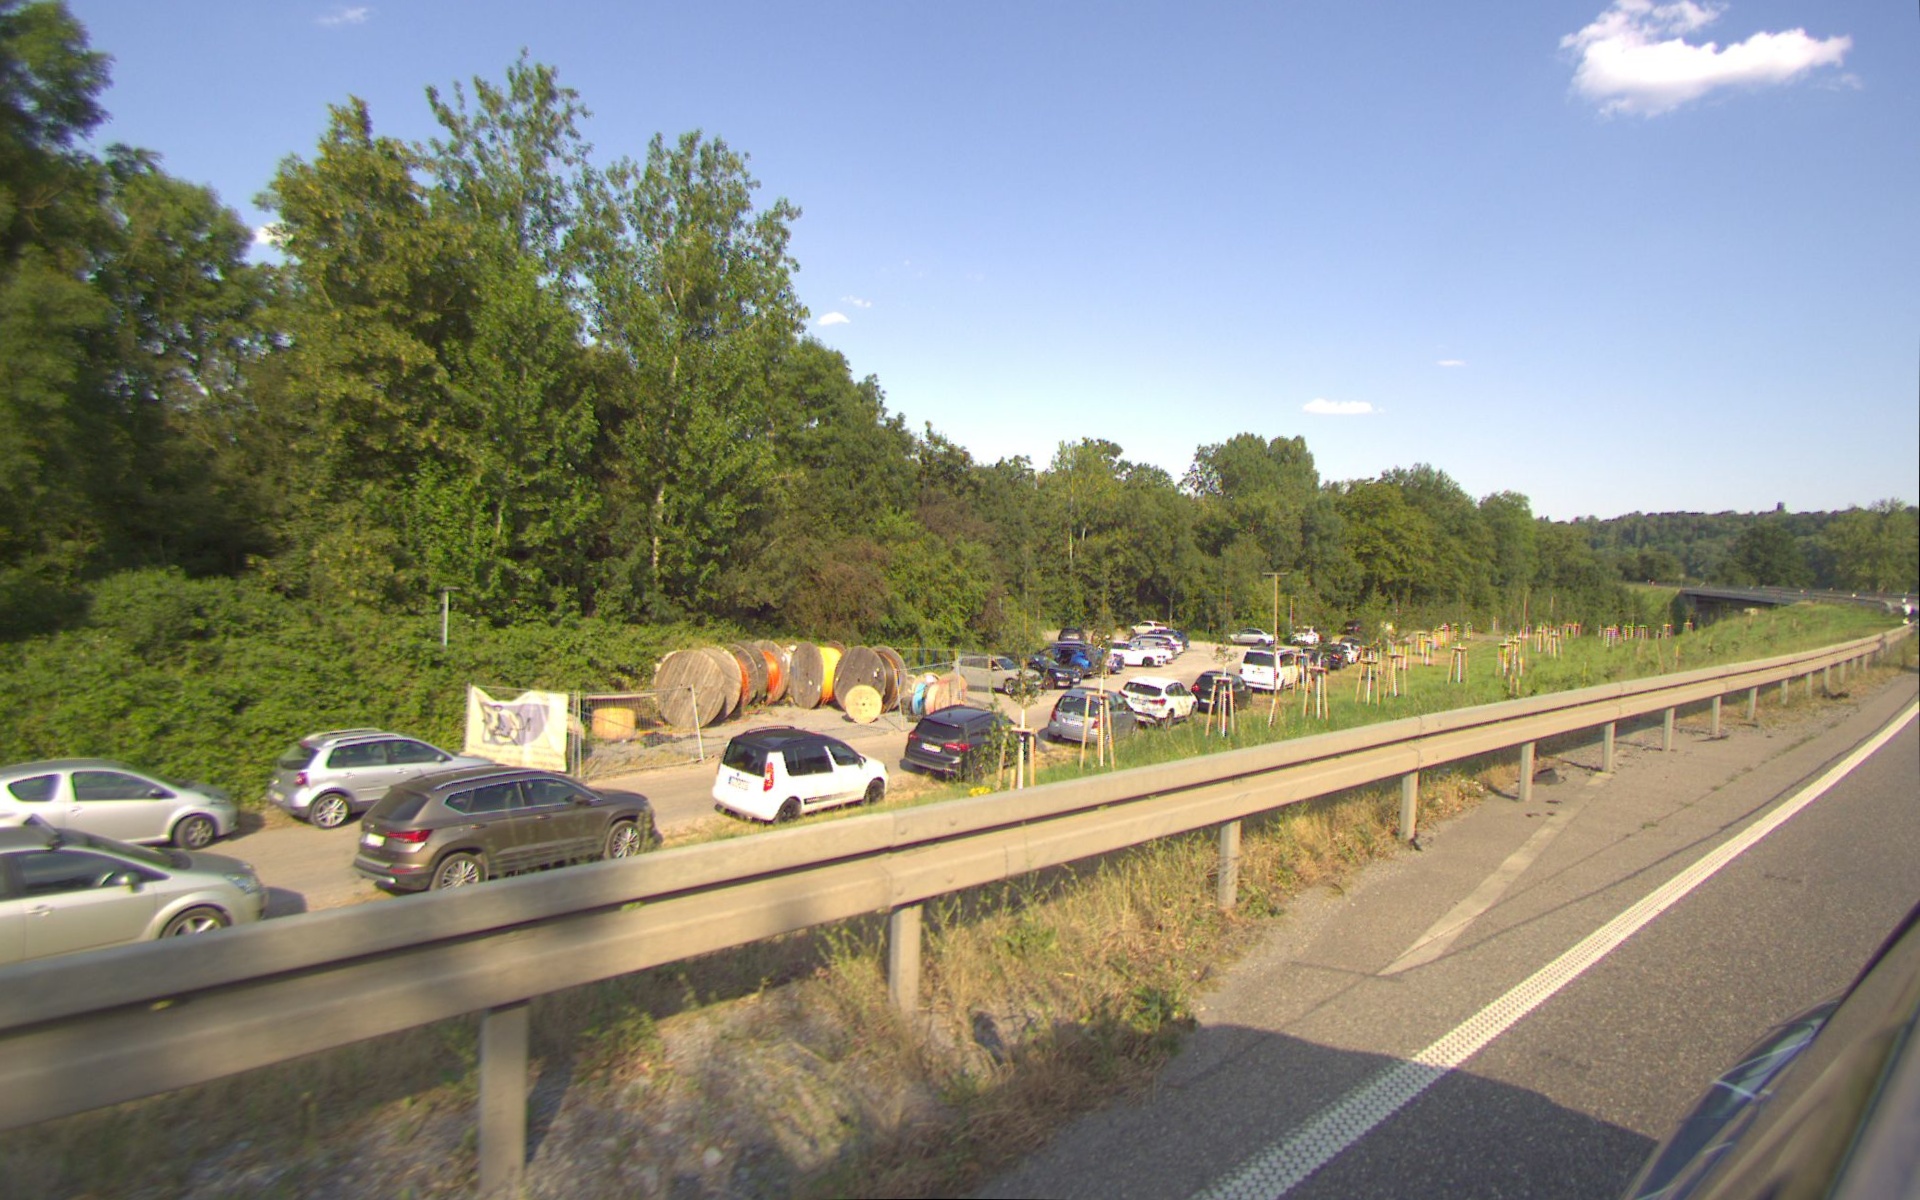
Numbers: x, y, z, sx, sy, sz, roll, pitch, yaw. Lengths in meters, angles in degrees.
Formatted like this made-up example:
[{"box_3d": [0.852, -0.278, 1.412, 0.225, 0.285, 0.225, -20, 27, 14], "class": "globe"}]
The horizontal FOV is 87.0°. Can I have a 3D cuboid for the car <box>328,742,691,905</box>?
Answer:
[{"box_3d": [-6.609, 3.189, 15.355, 1.887, 1.580, 4.717, -5, -4, 37], "class": "car"}]

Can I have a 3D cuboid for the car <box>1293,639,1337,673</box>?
[{"box_3d": [19.953, 3.098, 56.749, 1.805, 1.500, 4.357, 4, 2, 25], "class": "car"}]

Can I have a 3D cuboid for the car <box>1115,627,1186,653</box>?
[{"box_3d": [12.604, 2.602, 66.851, 4.362, 1.474, 1.723, 2, 1, 21], "class": "car"}]

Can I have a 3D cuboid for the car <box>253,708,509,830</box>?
[{"box_3d": [-10.843, 3.076, 19.160, 1.699, 1.528, 3.888, 3, 2, 40], "class": "car"}]

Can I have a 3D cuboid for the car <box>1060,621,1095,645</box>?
[{"box_3d": [8.448, 2.356, 72.639, 1.596, 1.474, 4.222, 3, 1, 18], "class": "car"}]

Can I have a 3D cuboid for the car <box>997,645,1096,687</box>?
[{"box_3d": [3.818, 2.891, 45.041, 1.804, 1.508, 4.235, -2, 2, -45], "class": "car"}]

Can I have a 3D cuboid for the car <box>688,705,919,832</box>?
[{"box_3d": [-2.991, 3.243, 20.402, 1.885, 1.578, 4.726, 6, 3, 32], "class": "car"}]

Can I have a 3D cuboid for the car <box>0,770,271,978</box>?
[{"box_3d": [-10.442, 3.017, 10.835, 1.888, 1.579, 4.716, 2, 0, 38], "class": "car"}]

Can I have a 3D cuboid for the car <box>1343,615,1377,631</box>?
[{"box_3d": [43.442, 2.446, 109.956, 1.625, 1.515, 3.693, 0, 2, -12], "class": "car"}]

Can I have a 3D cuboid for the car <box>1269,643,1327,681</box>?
[{"box_3d": [17.454, 3.143, 52.064, 1.883, 1.500, 4.732, 6, 3, 29], "class": "car"}]

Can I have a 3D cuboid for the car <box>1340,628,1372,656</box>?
[{"box_3d": [28.283, 2.988, 72.225, 1.805, 1.679, 4.219, 4, 2, 25], "class": "car"}]

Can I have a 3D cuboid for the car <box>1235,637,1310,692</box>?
[{"box_3d": [14.549, 2.907, 46.875, 2.109, 2.042, 5.323, 6, 3, 29], "class": "car"}]

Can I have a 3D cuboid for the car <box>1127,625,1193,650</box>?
[{"box_3d": [13.758, 2.553, 69.566, 4.201, 1.474, 1.604, 2, 1, 24], "class": "car"}]

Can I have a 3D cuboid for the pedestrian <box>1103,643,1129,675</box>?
[{"box_3d": [7.752, 2.922, 50.224, 0.870, 1.489, 0.924, 3, 2, -18], "class": "pedestrian"}]

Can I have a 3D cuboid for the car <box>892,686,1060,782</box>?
[{"box_3d": [0.513, 3.204, 25.087, 1.885, 1.578, 4.726, 6, 3, 32], "class": "car"}]

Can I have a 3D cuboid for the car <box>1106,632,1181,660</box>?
[{"box_3d": [11.047, 2.729, 61.056, 4.200, 1.474, 1.604, 1, 1, 24], "class": "car"}]

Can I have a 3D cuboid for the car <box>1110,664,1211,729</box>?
[{"box_3d": [6.907, 3.205, 34.474, 1.883, 1.578, 4.732, 6, 3, 29], "class": "car"}]

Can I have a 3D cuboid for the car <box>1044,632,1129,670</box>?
[{"box_3d": [6.730, 2.691, 53.848, 4.202, 1.764, 1.818, 1, 0, 25], "class": "car"}]

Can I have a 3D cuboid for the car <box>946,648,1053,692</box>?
[{"box_3d": [1.663, 2.943, 43.141, 4.212, 1.508, 1.814, 1, 1, 31], "class": "car"}]

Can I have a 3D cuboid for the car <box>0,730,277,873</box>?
[{"box_3d": [-13.359, 3.116, 16.072, 1.701, 1.415, 3.885, 6, 4, 41], "class": "car"}]

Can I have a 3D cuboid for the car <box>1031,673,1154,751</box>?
[{"box_3d": [4.002, 3.222, 29.895, 1.883, 1.578, 4.732, 6, 3, 29], "class": "car"}]

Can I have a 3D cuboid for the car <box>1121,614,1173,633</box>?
[{"box_3d": [16.461, 2.072, 89.099, 4.221, 1.474, 1.691, 2, 1, 36], "class": "car"}]

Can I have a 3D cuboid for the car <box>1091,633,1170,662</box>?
[{"box_3d": [9.906, 2.735, 58.781, 4.202, 1.517, 1.757, 1, 0, 25], "class": "car"}]

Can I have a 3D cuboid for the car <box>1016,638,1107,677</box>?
[{"box_3d": [5.048, 2.834, 50.415, 4.210, 1.624, 1.815, 1, 1, 30], "class": "car"}]

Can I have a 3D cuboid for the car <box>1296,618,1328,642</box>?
[{"box_3d": [29.344, 2.443, 84.371, 1.646, 1.687, 4.659, 2, 3, 30], "class": "car"}]

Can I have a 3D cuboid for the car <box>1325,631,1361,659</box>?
[{"box_3d": [25.320, 2.961, 66.817, 1.805, 1.500, 4.219, 4, 2, 25], "class": "car"}]

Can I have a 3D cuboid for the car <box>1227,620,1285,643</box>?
[{"box_3d": [23.668, 2.511, 80.994, 4.212, 1.474, 1.600, 3, 1, 30], "class": "car"}]

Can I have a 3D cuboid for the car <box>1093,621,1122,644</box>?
[{"box_3d": [10.860, 2.377, 74.428, 1.480, 1.474, 3.654, 3, 1, 18], "class": "car"}]

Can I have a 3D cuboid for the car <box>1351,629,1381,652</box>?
[{"box_3d": [30.859, 3.063, 76.813, 1.805, 1.418, 4.219, 4, 2, 25], "class": "car"}]

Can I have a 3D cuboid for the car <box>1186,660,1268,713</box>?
[{"box_3d": [10.450, 3.302, 39.393, 1.883, 1.500, 4.732, 6, 3, 29], "class": "car"}]

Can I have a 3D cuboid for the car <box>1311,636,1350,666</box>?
[{"box_3d": [22.732, 3.079, 62.041, 1.805, 1.500, 4.357, 4, 2, 25], "class": "car"}]
